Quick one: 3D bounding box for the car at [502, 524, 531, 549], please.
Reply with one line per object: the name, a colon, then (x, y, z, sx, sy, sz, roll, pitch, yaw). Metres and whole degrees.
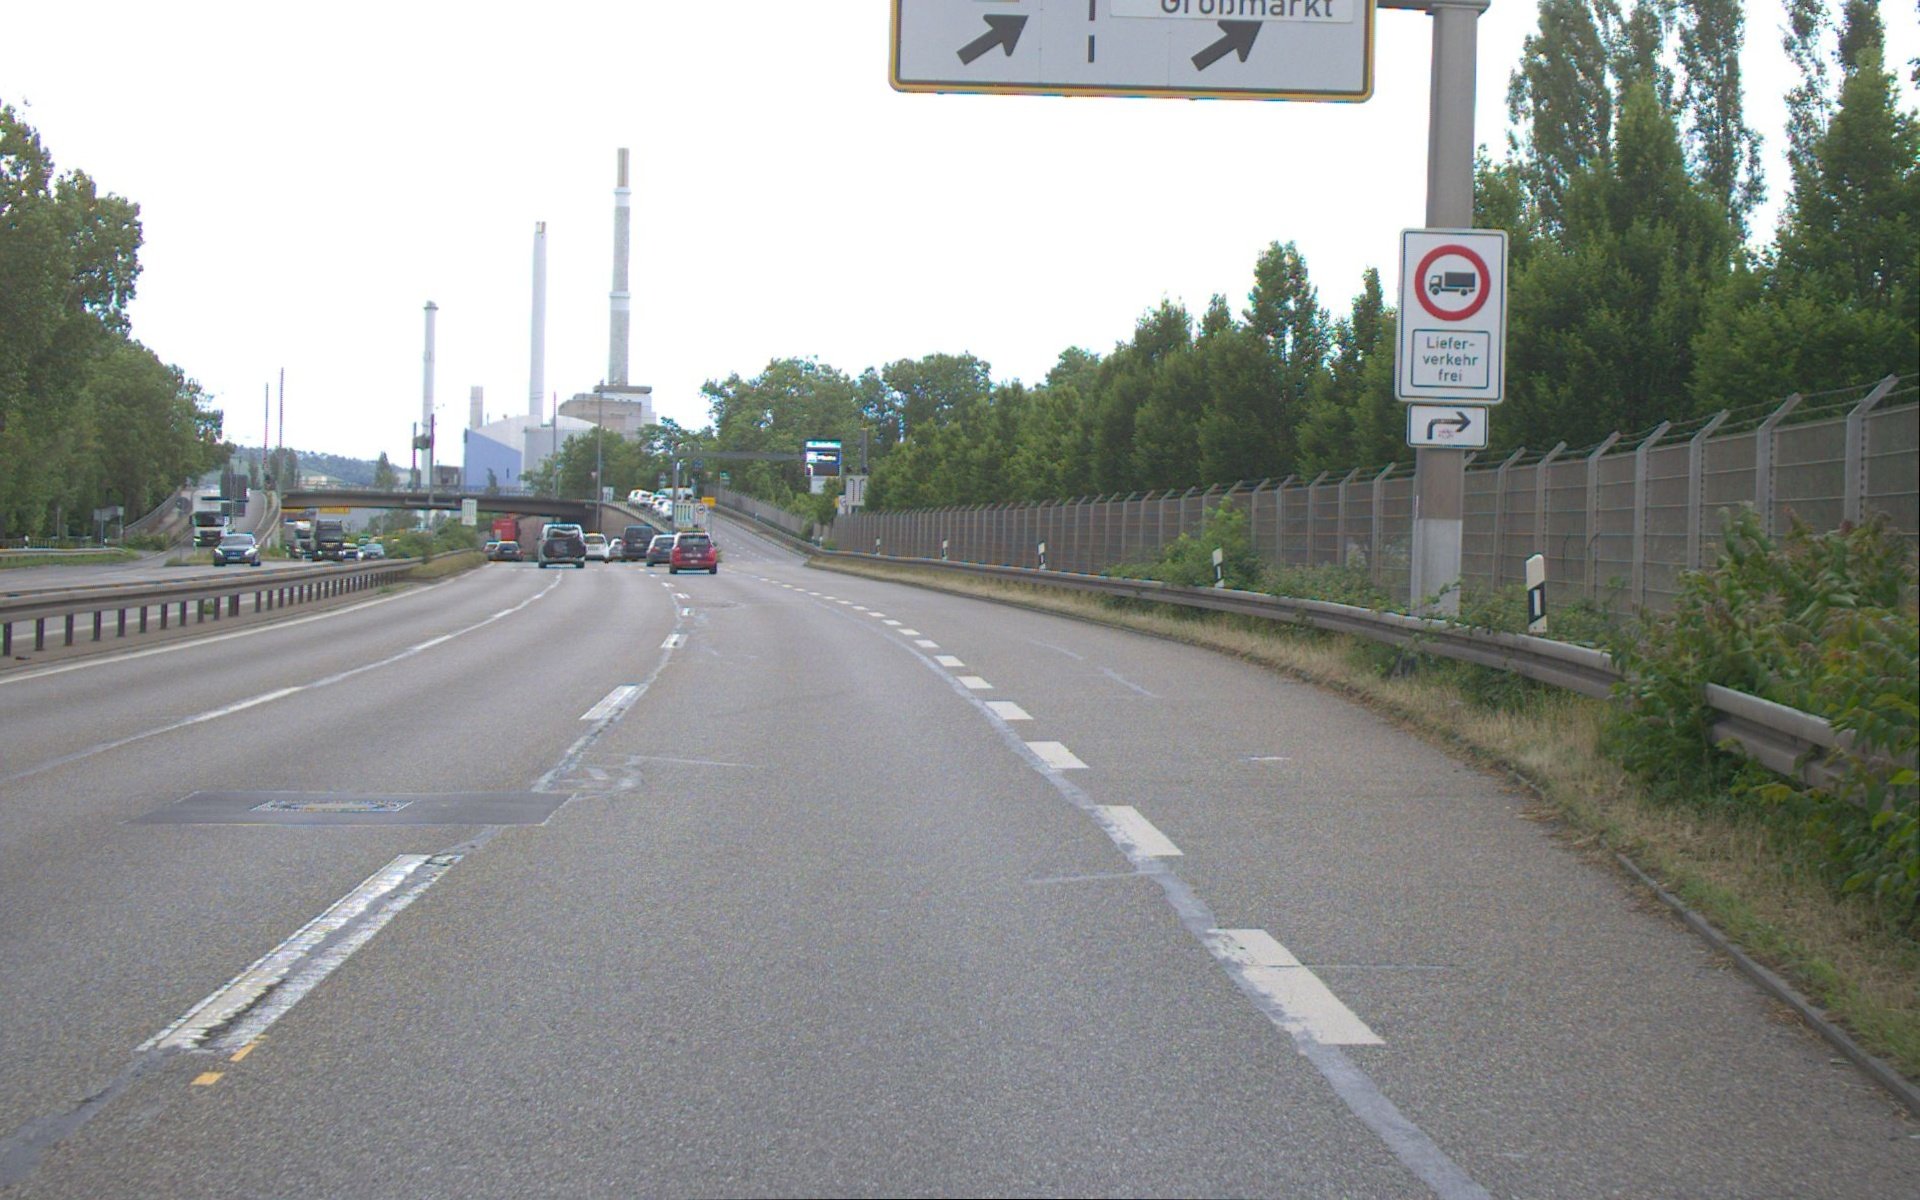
car: (-30.244, -4.335, 234.340, 1.697, 1.736, 4.394, 0, 1, -11)

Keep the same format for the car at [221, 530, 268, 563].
car: (-31.653, -2.400, 152.129, 1.697, 1.408, 4.639, 0, 1, -8)

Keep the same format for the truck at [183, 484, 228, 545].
truck: (-54.145, -6.208, 246.852, 2.888, 4.151, 14.664, 2, 1, -12)

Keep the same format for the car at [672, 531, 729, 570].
car: (-9.645, -1.843, 127.510, 1.974, 1.418, 4.902, 0, 1, -6)

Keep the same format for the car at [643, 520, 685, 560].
car: (-13.312, -2.708, 154.527, 1.697, 1.736, 4.394, 0, 1, -8)

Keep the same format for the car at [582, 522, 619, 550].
car: (-18.614, -3.316, 178.034, 1.697, 1.385, 4.399, 0, 1, -9)

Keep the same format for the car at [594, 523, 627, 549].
car: (-21.952, -4.020, 215.652, 1.697, 1.550, 4.399, 0, 1, -11)

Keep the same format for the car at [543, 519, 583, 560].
car: (-17.060, -2.627, 147.852, 1.697, 1.736, 4.001, 0, 1, -7)

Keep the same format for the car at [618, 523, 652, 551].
car: (-18.294, -3.574, 193.408, 1.697, 1.550, 4.399, 0, 1, -9)
